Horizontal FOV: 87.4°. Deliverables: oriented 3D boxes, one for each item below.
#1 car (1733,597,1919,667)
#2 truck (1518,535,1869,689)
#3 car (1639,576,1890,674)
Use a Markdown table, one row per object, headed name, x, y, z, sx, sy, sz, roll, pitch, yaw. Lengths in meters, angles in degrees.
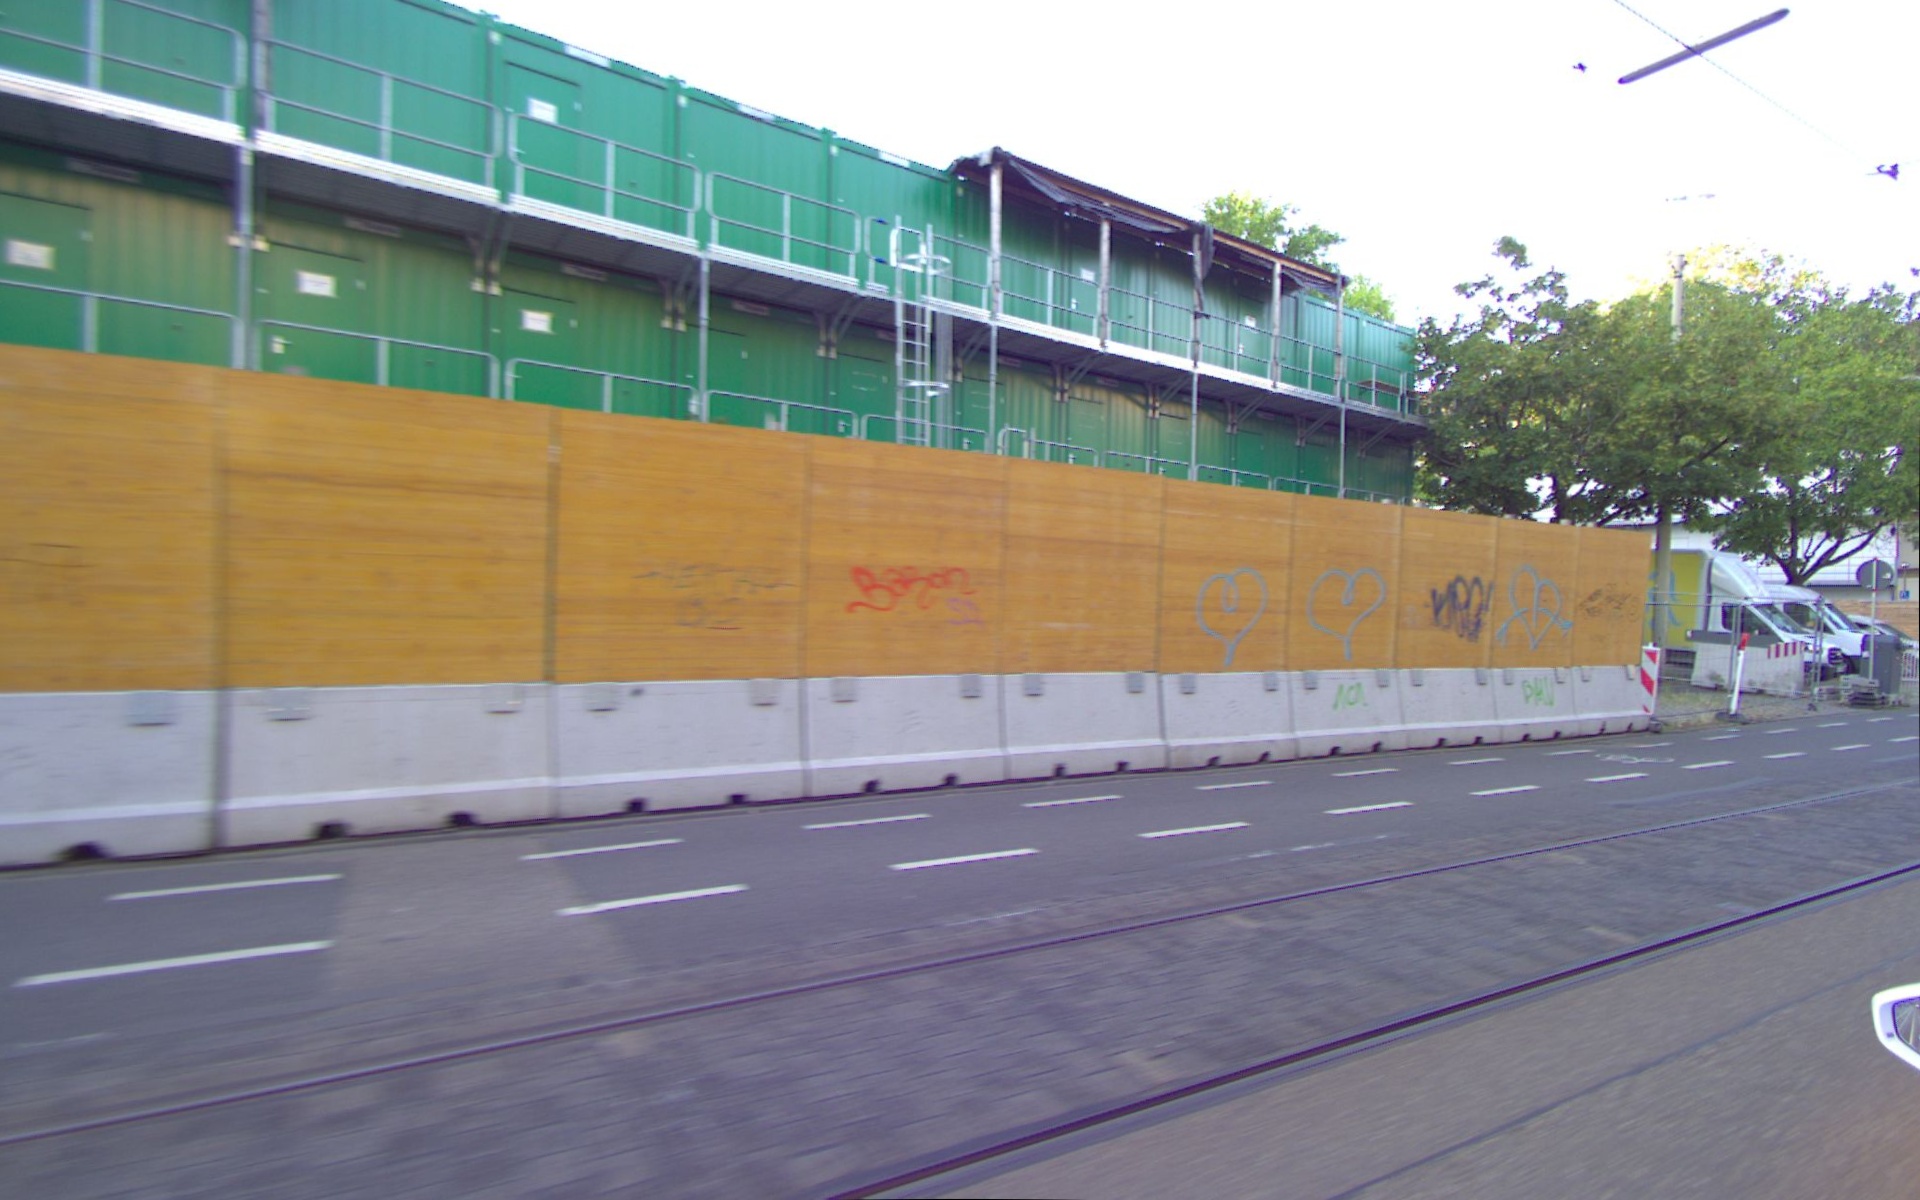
| name | x | y | z | sx | sy | sz | roll | pitch | yaw |
| --- | --- | --- | --- | --- | --- | --- | --- | --- | --- |
| car | 28.841 | 0.975 | 32.960 | 2.197 | 1.971 | 5.010 | 1 | 2 | -25 |
| truck | 19.094 | 0.162 | 26.690 | 2.514 | 3.528 | 7.014 | 0 | 2 | -33 |
| car | 23.829 | 0.627 | 30.005 | 2.202 | 2.593 | 5.368 | 0 | 2 | -32 |
